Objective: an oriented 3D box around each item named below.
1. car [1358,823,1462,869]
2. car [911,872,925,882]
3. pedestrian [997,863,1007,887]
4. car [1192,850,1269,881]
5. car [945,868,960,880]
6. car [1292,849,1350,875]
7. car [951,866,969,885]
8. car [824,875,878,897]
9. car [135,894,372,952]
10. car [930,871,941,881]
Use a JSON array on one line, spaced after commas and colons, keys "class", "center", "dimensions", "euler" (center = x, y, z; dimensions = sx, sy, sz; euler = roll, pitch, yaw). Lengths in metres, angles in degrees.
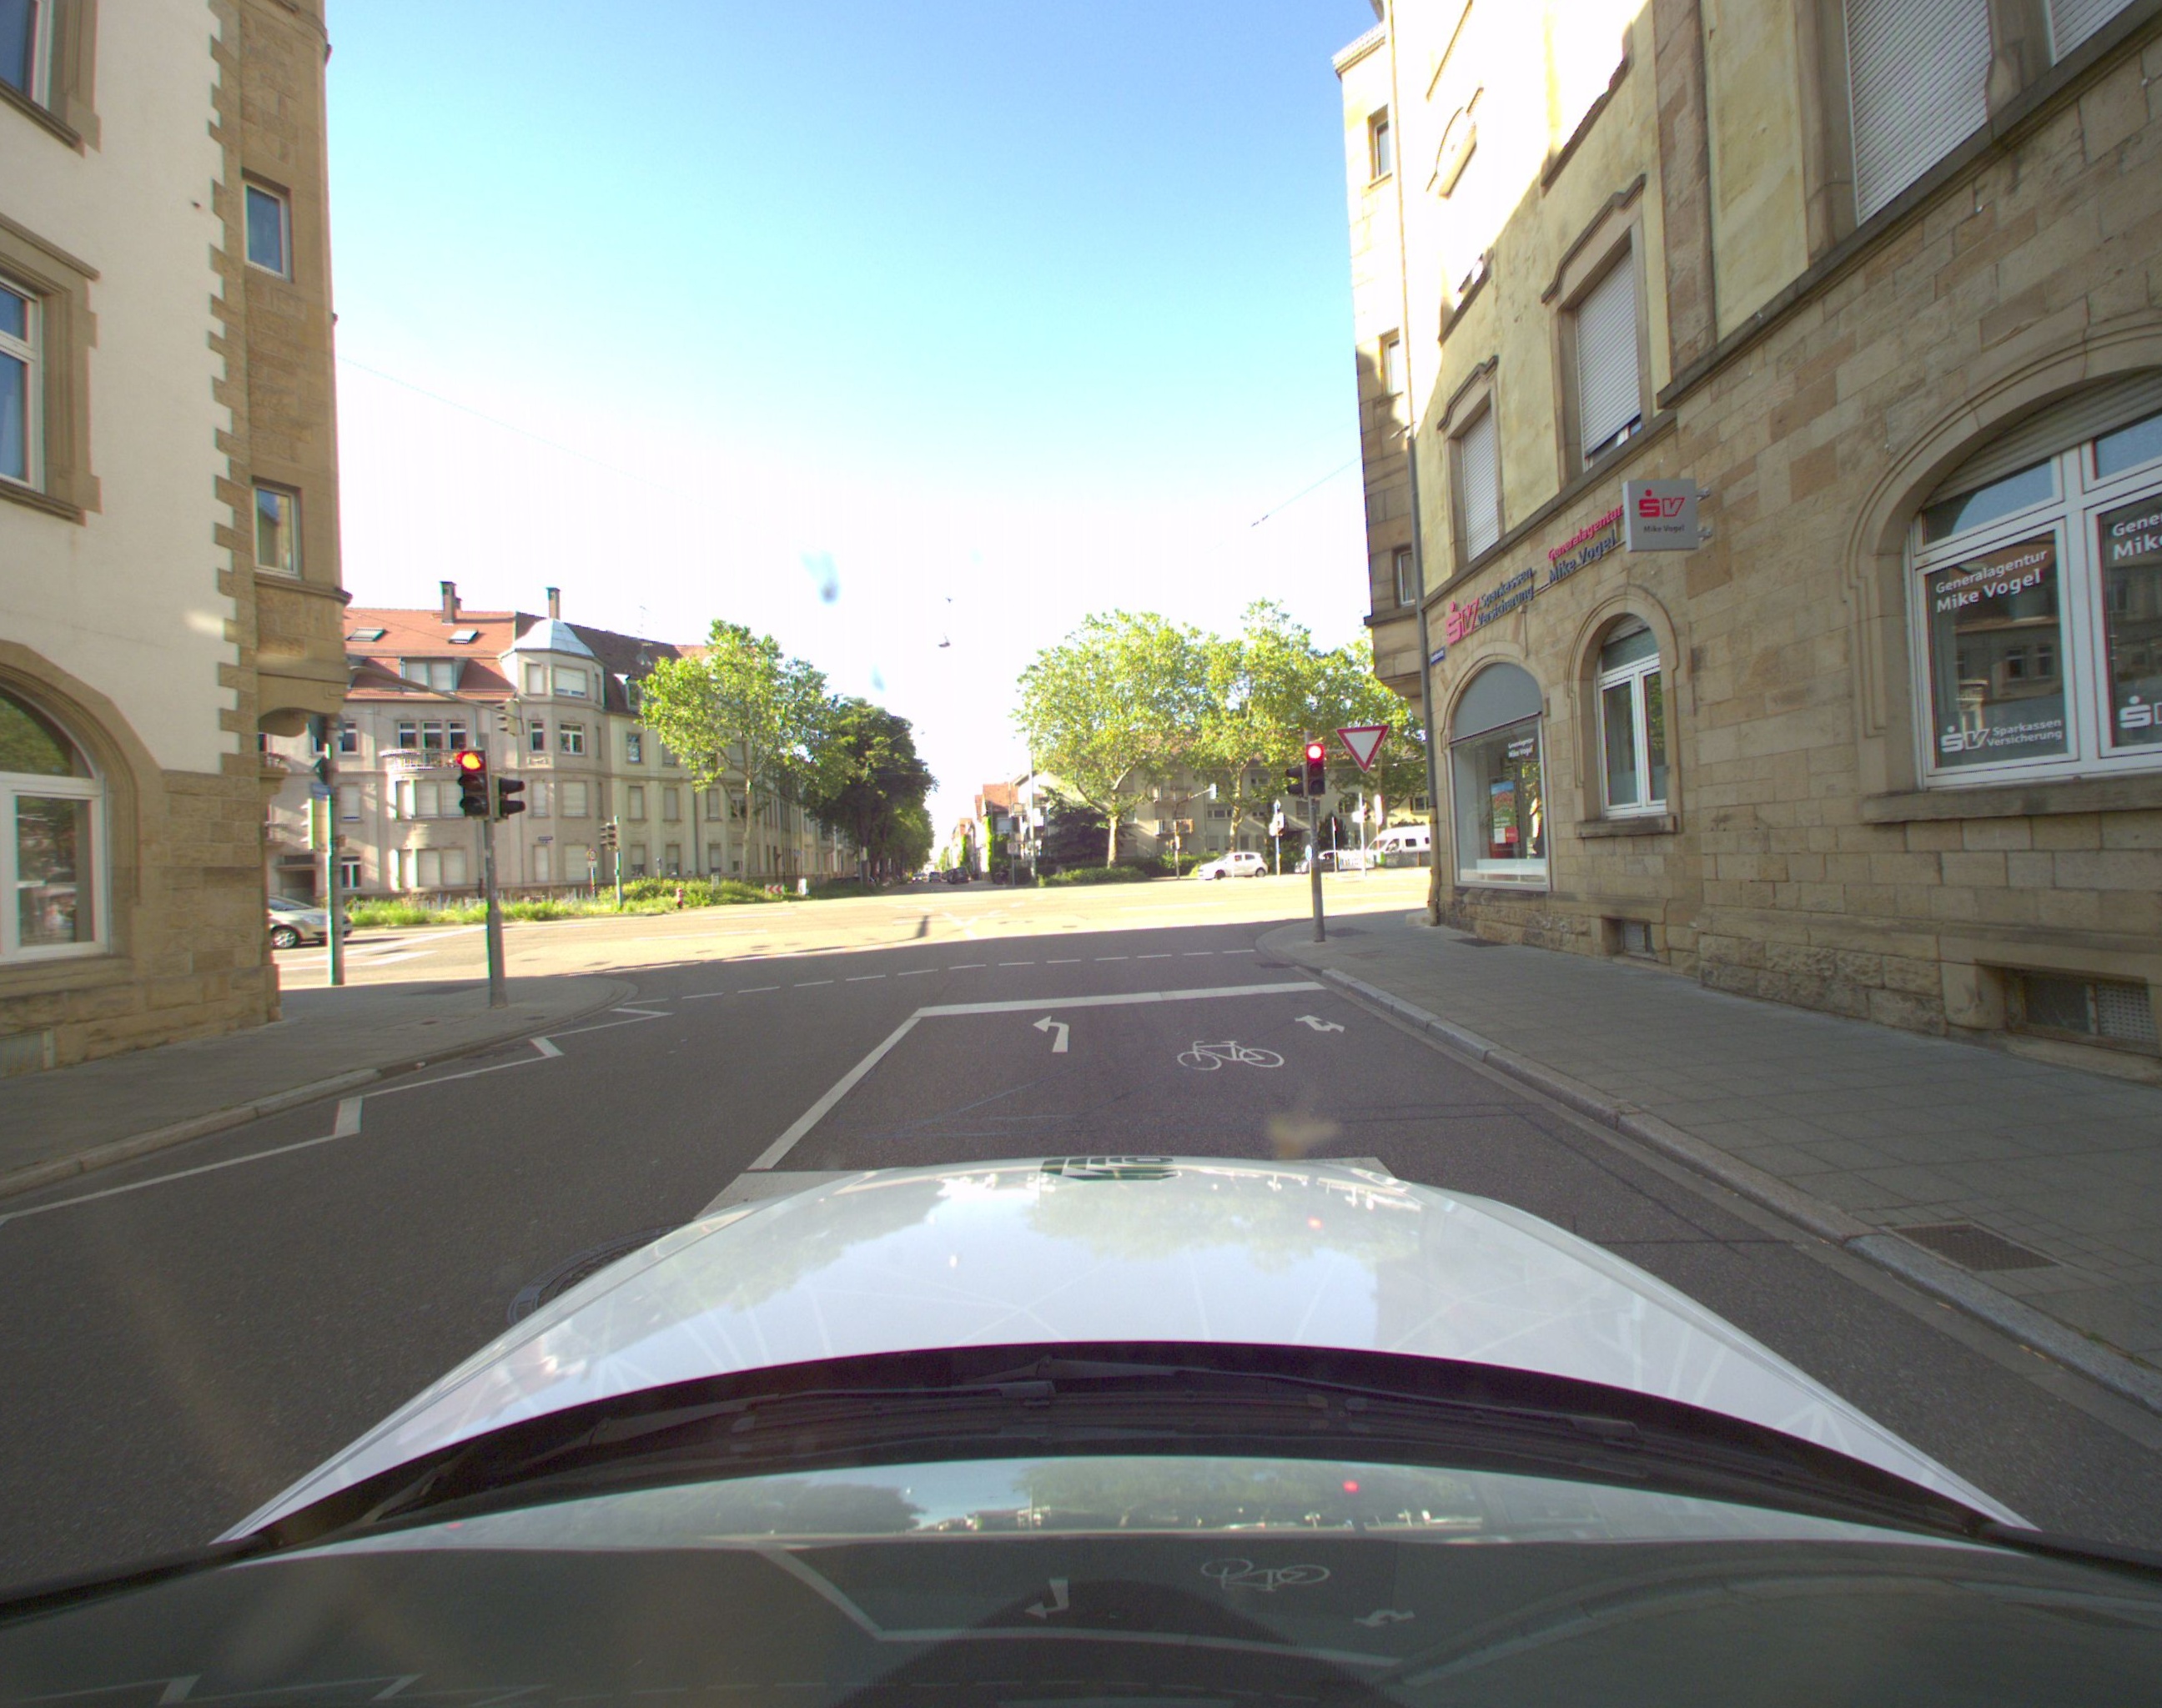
[{"class": "car", "center": [20.636, -0.488, 51.068], "dimensions": [6.054, 2.568, 1.989], "euler": [-3, 0, -16]}, {"class": "car", "center": [-26.263, 3.689, 131.195], "dimensions": [1.995, 1.445, 3.983], "euler": [-3, 0, -12]}, {"class": "pedestrian", "center": [-5.842, 1.563, 60.425], "dimensions": [0.631, 1.750, 0.658], "euler": [-2, -1, -2]}, {"class": "car", "center": [8.186, 0.614, 44.781], "dimensions": [3.793, 1.472, 1.622], "euler": [-3, 0, -15]}, {"class": "car", "center": [-19.909, 3.053, 125.974], "dimensions": [1.996, 1.833, 3.980], "euler": [-1, -1, -14]}, {"class": "car", "center": [15.603, 0.491, 52.968], "dimensions": [3.391, 1.487, 1.515], "euler": [-3, 0, -20]}, {"class": "car", "center": [-14.094, 2.488, 95.045], "dimensions": [1.992, 2.013, 3.989], "euler": [-3, 0, -8]}, {"class": "car", "center": [-18.123, 2.498, 64.282], "dimensions": [3.997, 1.486, 1.672], "euler": [-3, 0, -17]}, {"class": "car", "center": [-21.699, 1.765, 21.562], "dimensions": [3.995, 1.319, 1.812], "euler": [0, -1, -16]}, {"class": "car", "center": [-23.699, 3.598, 132.402], "dimensions": [1.674, 1.483, 3.509], "euler": [-2, -1, -10]}]
